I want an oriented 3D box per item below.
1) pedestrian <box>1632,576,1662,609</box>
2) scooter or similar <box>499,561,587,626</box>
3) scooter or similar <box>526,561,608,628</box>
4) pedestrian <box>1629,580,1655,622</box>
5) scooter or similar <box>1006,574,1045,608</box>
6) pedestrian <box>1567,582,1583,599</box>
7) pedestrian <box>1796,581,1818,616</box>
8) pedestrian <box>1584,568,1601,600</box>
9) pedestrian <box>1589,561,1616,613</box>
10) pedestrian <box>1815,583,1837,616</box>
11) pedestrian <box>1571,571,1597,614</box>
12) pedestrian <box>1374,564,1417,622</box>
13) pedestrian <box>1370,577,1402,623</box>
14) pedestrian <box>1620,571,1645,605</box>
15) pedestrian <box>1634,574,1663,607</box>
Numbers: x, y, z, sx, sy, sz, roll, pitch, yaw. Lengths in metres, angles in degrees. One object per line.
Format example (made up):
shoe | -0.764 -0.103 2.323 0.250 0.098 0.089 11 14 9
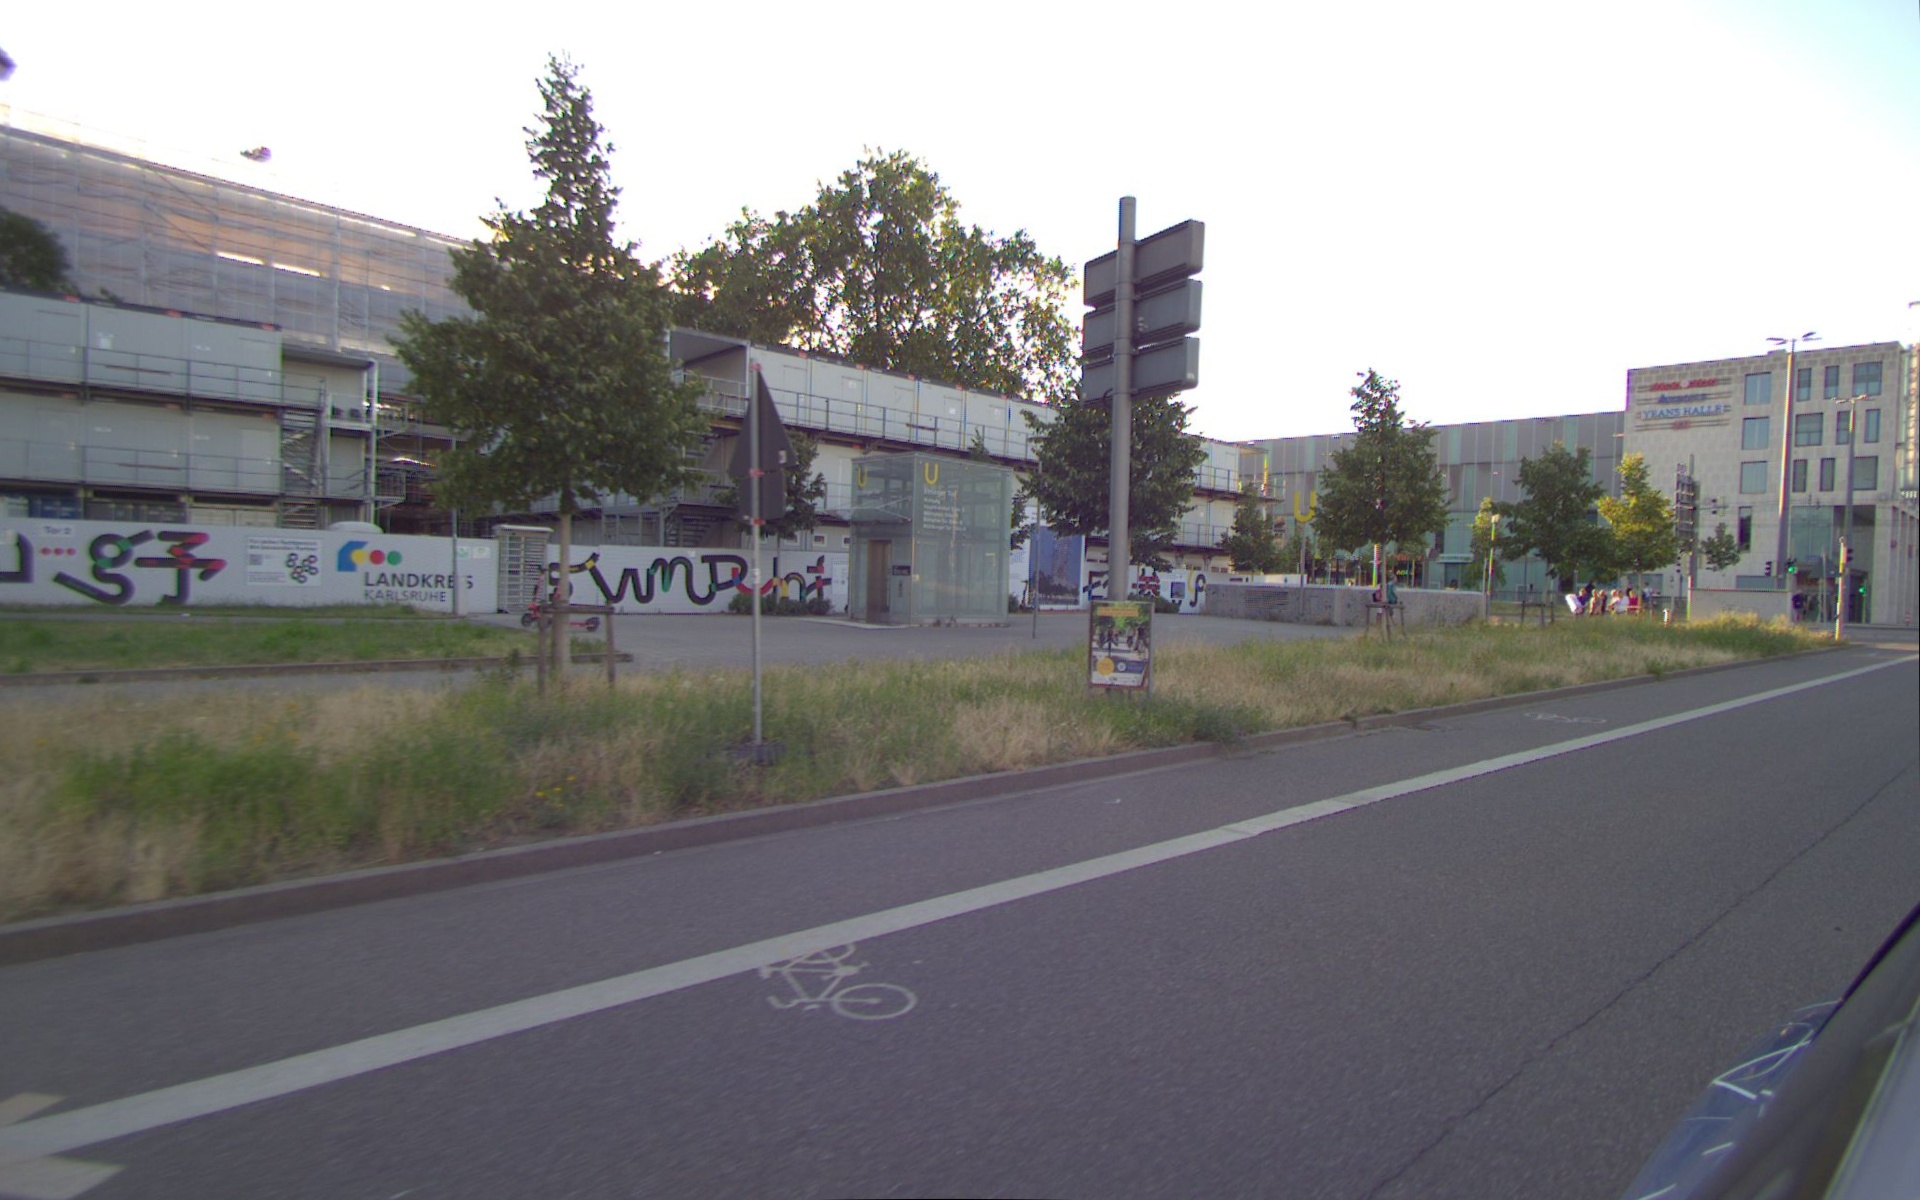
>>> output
pedestrian | 38.992 -0.427 57.430 0.986 1.744 0.873 2 4 -14
scooter or similar | -8.380 -0.140 20.355 0.473 1.235 1.550 6 4 42
scooter or similar | -7.571 -0.099 19.508 1.374 1.235 0.425 1 4 -40
pedestrian | 28.552 0.040 42.362 0.856 1.734 0.643 2 1 -42
scooter or similar | 2.490 -0.341 38.619 0.466 1.235 1.572 0 2 -42
pedestrian | 36.403 -0.540 59.903 0.648 0.975 0.644 3 1 44
pedestrian | 43.579 -0.079 52.049 0.855 1.752 0.644 0 2 -39
pedestrian | 37.030 -0.935 59.250 0.575 1.877 0.604 0 2 -37
pedestrian | 24.746 -0.511 38.979 0.608 1.957 0.644 0 2 -38
pedestrian | 43.935 -0.034 51.365 0.855 1.680 0.644 0 2 -39
pedestrian | 25.395 -0.309 41.171 0.749 1.734 0.643 2 1 -41
pedestrian | 14.314 -0.226 33.243 1.027 1.838 0.817 2 1 -35
pedestrian | 14.458 0.010 34.351 0.633 1.509 0.761 3 0 -41
pedestrian | 39.355 -0.720 59.219 0.882 1.875 0.723 4 4 16
pedestrian | 39.722 -0.547 58.415 0.986 1.875 0.896 0 4 -28
